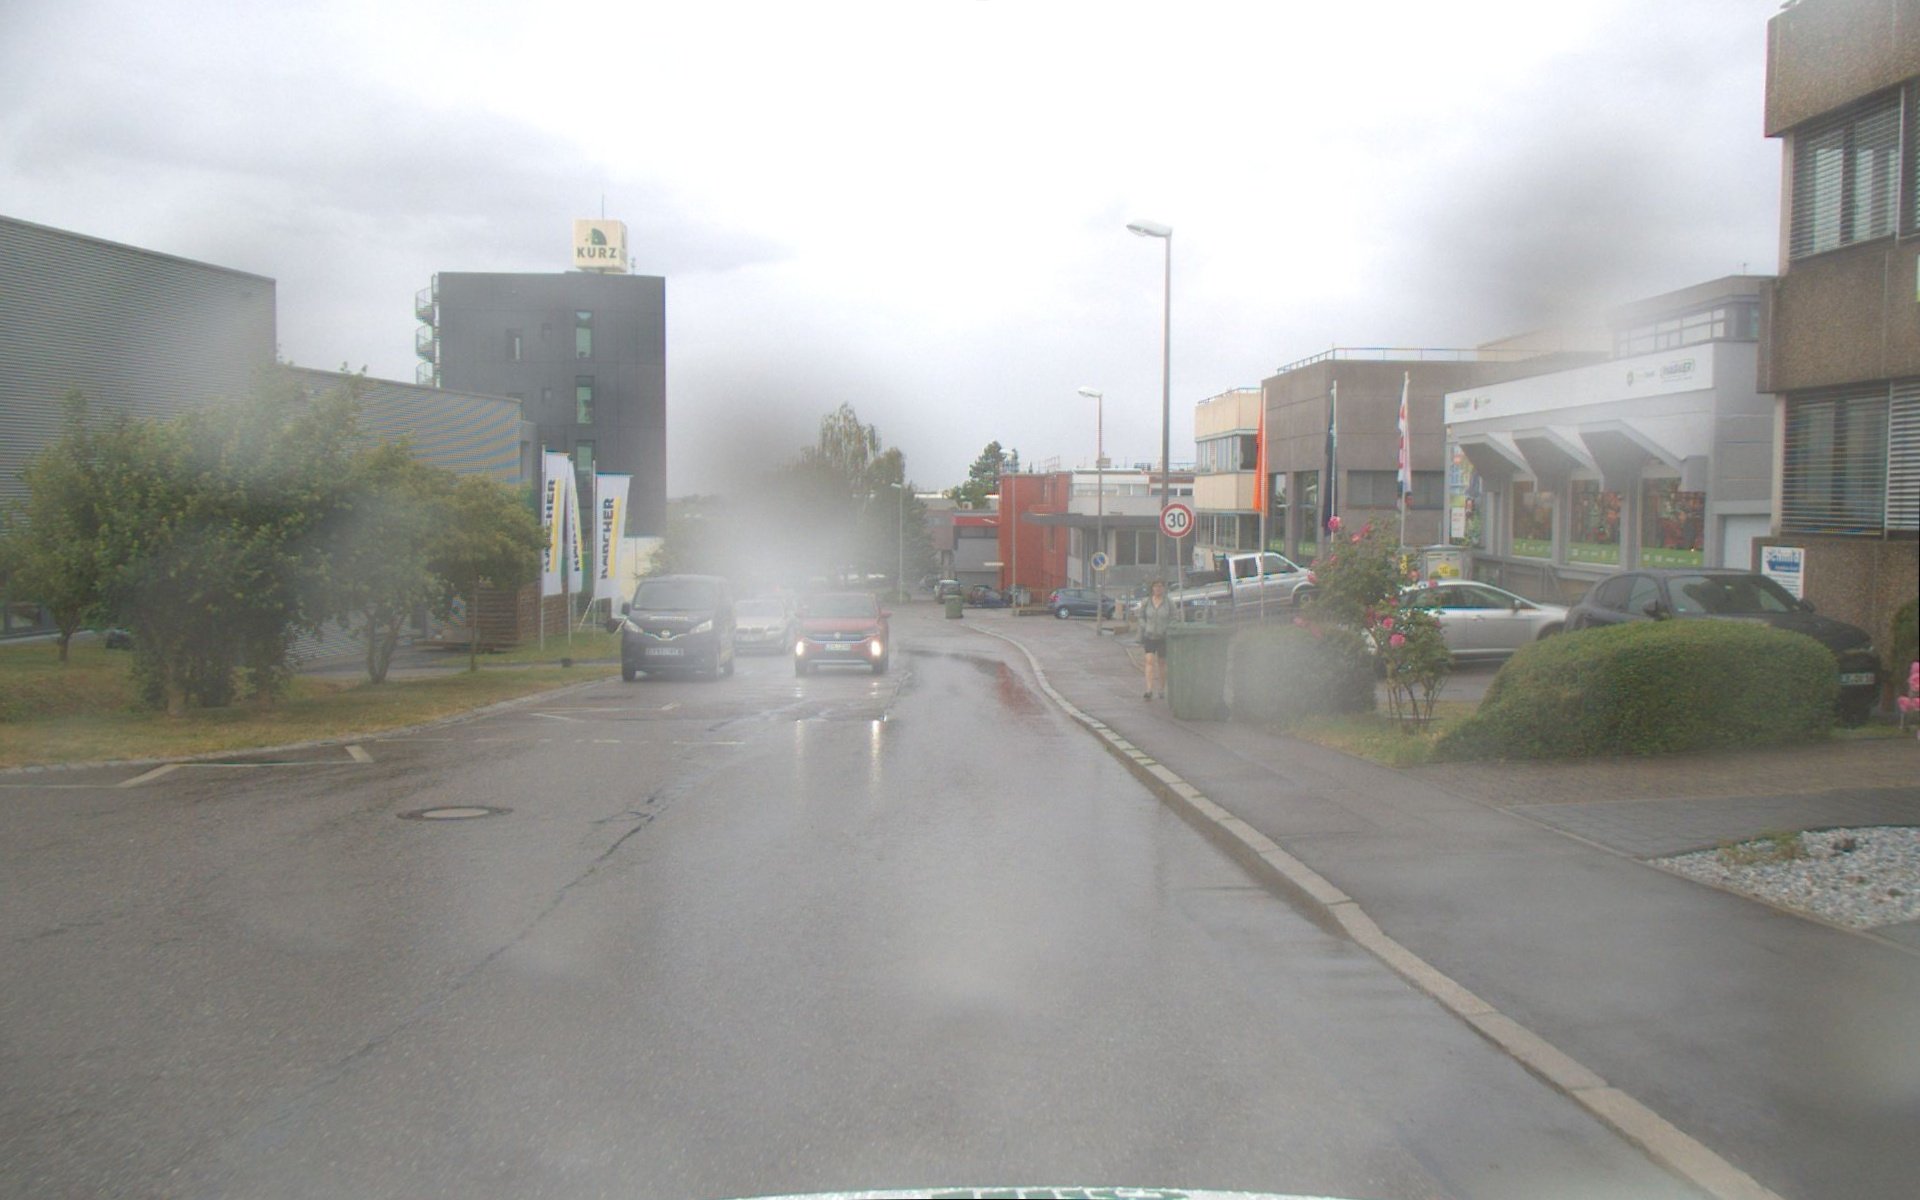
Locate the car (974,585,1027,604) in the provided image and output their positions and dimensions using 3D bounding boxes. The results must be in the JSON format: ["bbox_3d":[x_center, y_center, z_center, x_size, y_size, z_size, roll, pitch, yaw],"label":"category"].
[{"bbox_3d":[2.563,-0.368,105.042,3.331,1.183,1.792,0,1,-1],"label":"car"}]

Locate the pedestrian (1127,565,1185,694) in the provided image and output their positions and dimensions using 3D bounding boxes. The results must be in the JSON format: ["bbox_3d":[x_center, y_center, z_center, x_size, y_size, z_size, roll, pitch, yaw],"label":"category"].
[{"bbox_3d":[2.772,0.407,23.414,0.721,1.798,0.808,0,0,-1],"label":"pedestrian"}]

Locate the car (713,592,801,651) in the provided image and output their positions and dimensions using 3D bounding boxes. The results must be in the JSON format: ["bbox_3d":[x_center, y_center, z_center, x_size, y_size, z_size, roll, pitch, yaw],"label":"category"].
[{"bbox_3d":[-5.439,0.536,44.956,1.916,1.486,5.245,-1,1,-2],"label":"car"}]

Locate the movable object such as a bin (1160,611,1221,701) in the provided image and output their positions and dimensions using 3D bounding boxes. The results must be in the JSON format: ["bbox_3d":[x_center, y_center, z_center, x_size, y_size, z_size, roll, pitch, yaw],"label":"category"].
[{"bbox_3d":[3.012,0.714,21.564,0.713,1.133,0.704,0,0,14],"label":"movable object such as a bin"}]

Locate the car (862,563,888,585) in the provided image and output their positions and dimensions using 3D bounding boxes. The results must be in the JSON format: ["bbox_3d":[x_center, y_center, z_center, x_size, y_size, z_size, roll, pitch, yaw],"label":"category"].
[{"bbox_3d":[-8.148,-2.457,158.323,2.106,2.049,3.931,-1,0,-9],"label":"car"}]

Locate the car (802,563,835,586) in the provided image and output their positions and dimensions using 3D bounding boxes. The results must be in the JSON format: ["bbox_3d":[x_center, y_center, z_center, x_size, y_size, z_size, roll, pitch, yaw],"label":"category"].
[{"bbox_3d":[-13.424,-2.396,156.655,2.229,2.049,3.980,-1,0,-17],"label":"car"}]

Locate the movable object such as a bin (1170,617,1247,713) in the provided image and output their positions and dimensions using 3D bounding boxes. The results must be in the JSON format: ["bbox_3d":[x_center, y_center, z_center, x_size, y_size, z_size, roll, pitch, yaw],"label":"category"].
[{"bbox_3d":[2.824,0.730,18.854,0.756,1.048,0.808,0,0,-1],"label":"movable object such as a bin"}]

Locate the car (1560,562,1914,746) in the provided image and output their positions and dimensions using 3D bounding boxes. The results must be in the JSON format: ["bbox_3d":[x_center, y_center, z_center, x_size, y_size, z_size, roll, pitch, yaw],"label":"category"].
[{"bbox_3d":[8.436,0.531,18.459,1.713,1.780,4.471,-1,0,-2],"label":"car"}]

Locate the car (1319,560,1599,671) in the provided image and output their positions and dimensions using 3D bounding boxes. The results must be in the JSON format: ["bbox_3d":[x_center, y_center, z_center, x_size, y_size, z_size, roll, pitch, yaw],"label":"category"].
[{"bbox_3d":[8.318,0.246,27.822,4.038,1.601,2.002,-3,0,-3],"label":"car"}]

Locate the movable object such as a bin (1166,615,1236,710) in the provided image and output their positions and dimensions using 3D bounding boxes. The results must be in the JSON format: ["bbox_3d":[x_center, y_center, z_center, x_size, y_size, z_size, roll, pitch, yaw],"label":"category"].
[{"bbox_3d":[2.850,0.733,19.589,0.728,1.085,0.636,0,0,-1],"label":"movable object such as a bin"}]

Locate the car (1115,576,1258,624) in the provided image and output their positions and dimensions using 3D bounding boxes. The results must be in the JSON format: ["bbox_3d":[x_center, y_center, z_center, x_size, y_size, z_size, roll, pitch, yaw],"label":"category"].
[{"bbox_3d":[8.379,-0.029,61.447,4.990,1.642,1.924,-1,1,-3],"label":"car"}]

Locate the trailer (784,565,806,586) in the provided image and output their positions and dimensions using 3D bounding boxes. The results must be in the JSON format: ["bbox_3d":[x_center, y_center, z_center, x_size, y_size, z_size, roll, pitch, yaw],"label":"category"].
[{"bbox_3d":[-16.021,-2.362,160.542,1.819,2.049,3.991,0,1,-10],"label":"trailer"}]

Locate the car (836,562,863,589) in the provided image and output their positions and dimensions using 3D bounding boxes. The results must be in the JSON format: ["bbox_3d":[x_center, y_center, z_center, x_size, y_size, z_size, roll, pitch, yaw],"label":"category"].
[{"bbox_3d":[-10.494,-2.285,157.227,2.153,2.502,3.990,-1,0,-10],"label":"car"}]

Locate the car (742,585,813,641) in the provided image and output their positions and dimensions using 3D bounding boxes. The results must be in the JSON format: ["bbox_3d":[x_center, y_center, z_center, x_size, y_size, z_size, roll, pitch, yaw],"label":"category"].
[{"bbox_3d":[-5.612,0.400,51.329,1.918,1.604,4.836,-1,0,-4],"label":"car"}]

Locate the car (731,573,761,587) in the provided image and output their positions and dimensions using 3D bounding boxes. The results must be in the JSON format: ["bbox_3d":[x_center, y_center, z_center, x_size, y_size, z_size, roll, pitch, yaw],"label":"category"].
[{"bbox_3d":[-26.092,-2.406,201.520,2.433,1.566,3.962,-1,0,-29],"label":"car"}]

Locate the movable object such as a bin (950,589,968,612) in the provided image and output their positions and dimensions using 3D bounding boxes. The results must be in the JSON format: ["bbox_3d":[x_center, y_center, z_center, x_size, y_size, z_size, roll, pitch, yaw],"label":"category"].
[{"bbox_3d":[-0.059,0.035,82.304,0.791,1.111,0.708,-1,1,-7],"label":"movable object such as a bin"}]

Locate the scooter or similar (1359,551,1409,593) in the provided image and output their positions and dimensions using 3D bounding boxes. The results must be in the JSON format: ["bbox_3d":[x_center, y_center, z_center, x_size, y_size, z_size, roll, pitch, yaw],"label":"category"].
[{"bbox_3d":[13.722,-0.922,53.610,1.043,1.245,2.065,-4,2,1],"label":"scooter or similar"}]

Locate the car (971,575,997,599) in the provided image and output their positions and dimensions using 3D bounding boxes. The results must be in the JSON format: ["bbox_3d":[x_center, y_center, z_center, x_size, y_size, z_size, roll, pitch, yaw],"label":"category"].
[{"bbox_3d":[1.799,-0.961,123.640,1.704,1.682,3.998,-1,0,-2],"label":"car"}]

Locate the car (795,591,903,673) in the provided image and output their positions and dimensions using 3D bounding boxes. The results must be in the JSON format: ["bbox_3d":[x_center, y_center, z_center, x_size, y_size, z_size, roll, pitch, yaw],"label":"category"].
[{"bbox_3d":[-2.161,0.615,33.218,1.711,1.535,3.936,0,0,3],"label":"car"}]

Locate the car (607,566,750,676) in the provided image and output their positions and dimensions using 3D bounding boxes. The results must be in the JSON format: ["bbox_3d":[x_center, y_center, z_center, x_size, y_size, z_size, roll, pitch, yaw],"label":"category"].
[{"bbox_3d":[-5.055,0.343,30.321,1.876,1.863,4.847,0,0,-1],"label":"car"}]

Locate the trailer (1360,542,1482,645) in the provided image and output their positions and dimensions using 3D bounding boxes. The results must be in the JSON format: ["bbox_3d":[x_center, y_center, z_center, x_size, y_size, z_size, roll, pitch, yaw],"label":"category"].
[{"bbox_3d":[11.627,-0.226,41.965,1.848,2.458,4.308,-1,2,-1],"label":"trailer"}]

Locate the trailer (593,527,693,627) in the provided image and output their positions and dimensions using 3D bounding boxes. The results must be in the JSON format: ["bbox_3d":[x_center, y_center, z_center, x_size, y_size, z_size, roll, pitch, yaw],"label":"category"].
[{"bbox_3d":[-13.961,-0.990,72.813,4.103,4.276,1.999,-1,0,36],"label":"trailer"}]

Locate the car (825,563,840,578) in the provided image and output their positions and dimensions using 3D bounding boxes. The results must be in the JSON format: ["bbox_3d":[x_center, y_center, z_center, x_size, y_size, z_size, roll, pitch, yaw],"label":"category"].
[{"bbox_3d":[-12.521,-2.873,162.743,1.266,1.449,2.541,-1,0,-9],"label":"car"}]

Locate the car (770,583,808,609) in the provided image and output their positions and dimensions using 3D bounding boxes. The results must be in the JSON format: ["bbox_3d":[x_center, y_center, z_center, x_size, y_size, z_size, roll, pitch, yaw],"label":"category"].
[{"bbox_3d":[-10.270,-0.229,99.151,1.740,1.539,4.130,-1,0,-14],"label":"car"}]

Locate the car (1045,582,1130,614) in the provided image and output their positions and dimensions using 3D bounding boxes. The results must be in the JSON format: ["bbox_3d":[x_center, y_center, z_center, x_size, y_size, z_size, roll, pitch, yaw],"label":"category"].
[{"bbox_3d":[6.014,-0.100,78.266,3.817,1.408,1.820,1,0,-3],"label":"car"}]

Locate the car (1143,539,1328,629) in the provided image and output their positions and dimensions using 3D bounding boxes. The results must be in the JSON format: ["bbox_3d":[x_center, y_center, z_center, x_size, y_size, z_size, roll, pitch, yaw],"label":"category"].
[{"bbox_3d":[8.633,-0.498,52.153,5.196,2.047,2.221,-8,0,-2],"label":"car"}]

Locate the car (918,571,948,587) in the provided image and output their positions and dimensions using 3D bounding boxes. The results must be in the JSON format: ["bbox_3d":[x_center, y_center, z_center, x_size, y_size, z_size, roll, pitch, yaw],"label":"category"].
[{"bbox_3d":[-2.377,-1.807,144.778,2.499,1.375,1.240,0,1,-8],"label":"car"}]

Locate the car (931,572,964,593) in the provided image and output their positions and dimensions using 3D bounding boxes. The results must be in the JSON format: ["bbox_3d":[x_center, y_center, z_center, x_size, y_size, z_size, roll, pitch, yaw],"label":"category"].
[{"bbox_3d":[-1.005,-1.379,130.200,2.027,1.579,3.990,-1,0,-10],"label":"car"}]

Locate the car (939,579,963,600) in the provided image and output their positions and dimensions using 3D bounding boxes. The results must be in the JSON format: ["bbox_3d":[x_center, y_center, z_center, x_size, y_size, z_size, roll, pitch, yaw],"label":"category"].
[{"bbox_3d":[-0.684,-0.764,122.732,1.663,1.501,3.998,-1,0,-2],"label":"car"}]

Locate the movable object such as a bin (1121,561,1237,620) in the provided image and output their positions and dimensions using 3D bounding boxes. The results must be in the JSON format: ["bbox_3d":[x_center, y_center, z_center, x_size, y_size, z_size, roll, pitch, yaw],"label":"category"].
[{"bbox_3d":[8.367,-0.366,63.376,4.168,2.147,1.476,-1,1,-2],"label":"movable object such as a bin"}]
